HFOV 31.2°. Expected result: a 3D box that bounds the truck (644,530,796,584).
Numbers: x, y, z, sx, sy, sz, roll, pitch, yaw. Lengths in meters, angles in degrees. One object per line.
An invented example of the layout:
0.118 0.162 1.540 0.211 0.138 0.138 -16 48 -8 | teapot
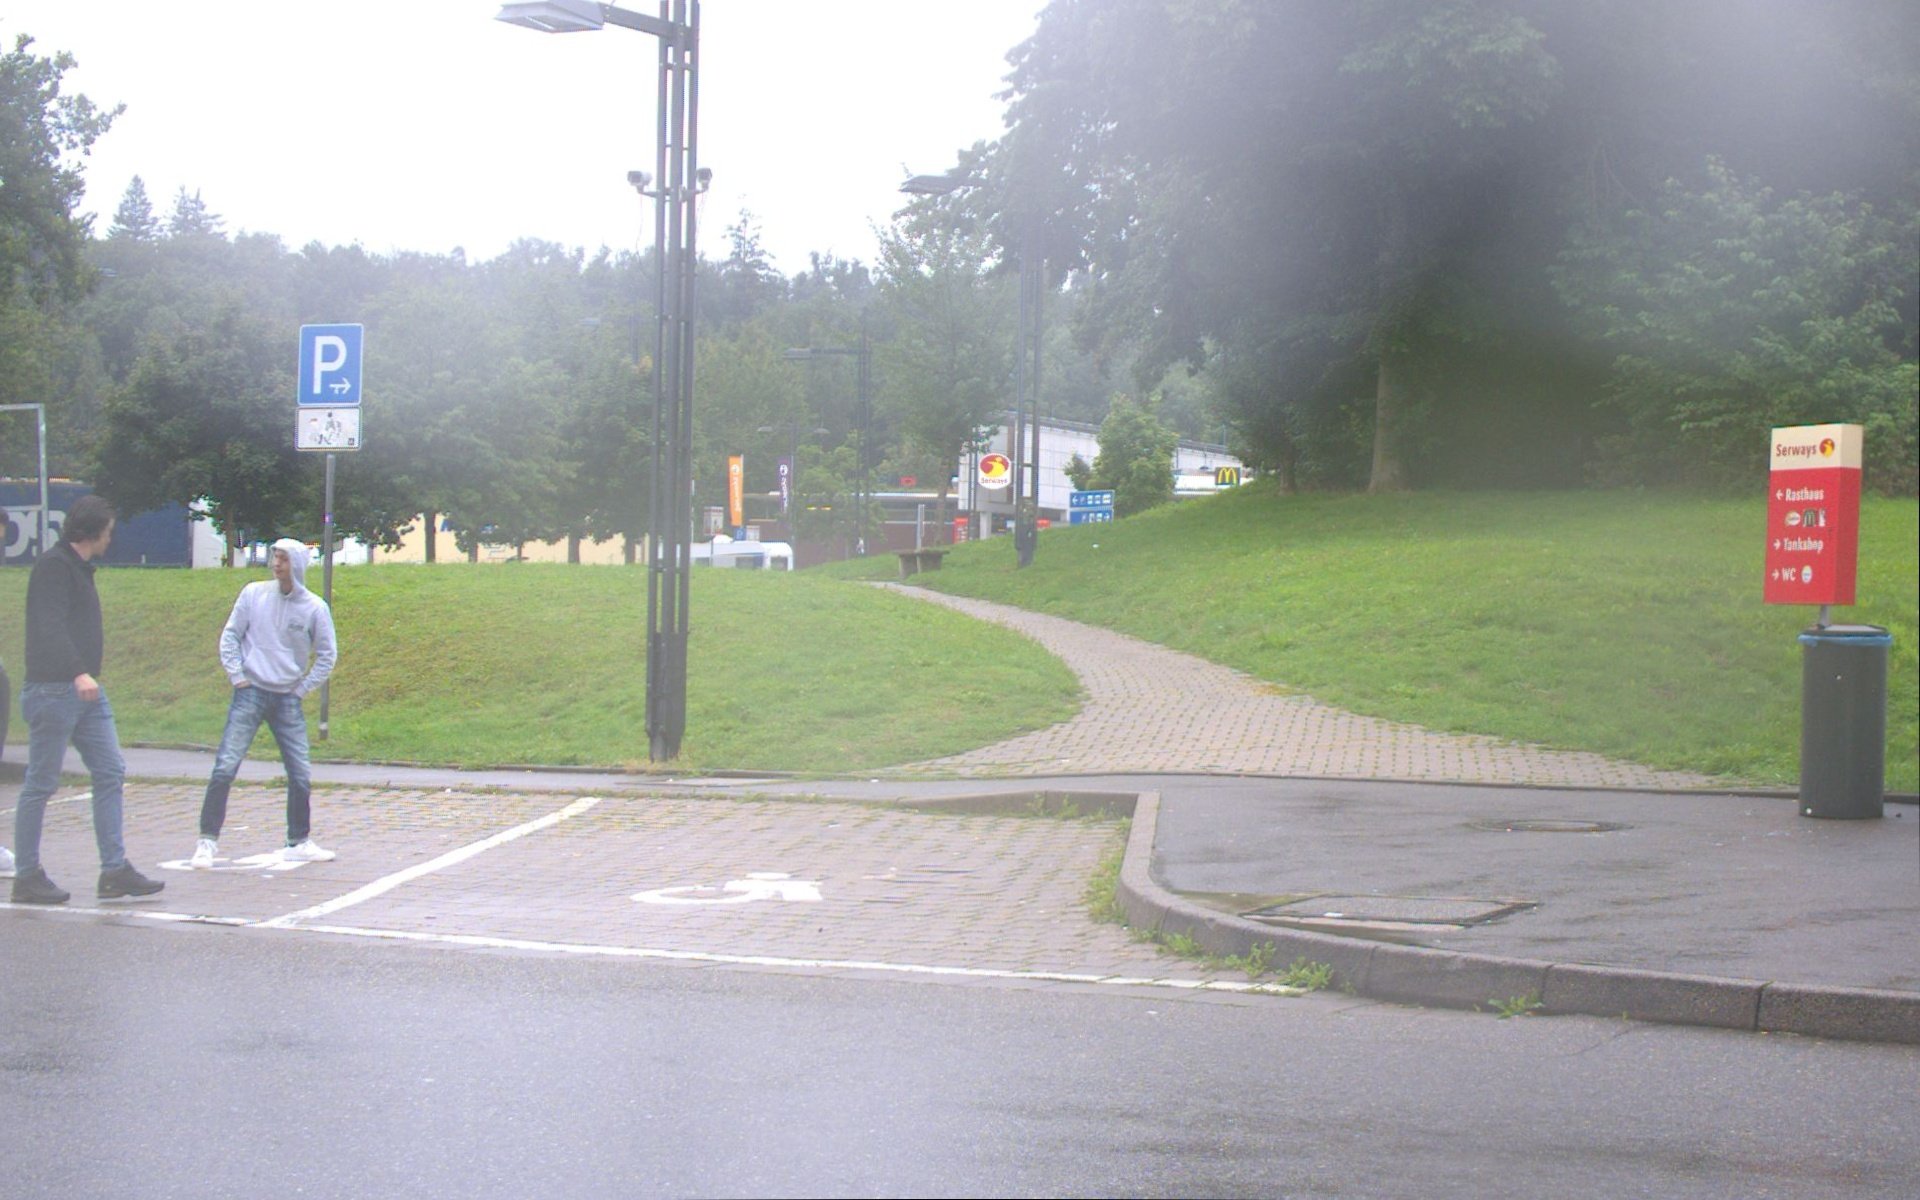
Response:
-9.337 -1.682 133.810 5.413 2.007 2.364 1 1 25 | truck

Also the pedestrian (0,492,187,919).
-4.069 0.461 15.596 0.891 1.880 0.704 1 0 8 | pedestrian

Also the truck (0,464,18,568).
-28.612 -2.358 94.661 2.189 2.910 5.380 1 1 24 | truck

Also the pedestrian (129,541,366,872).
-3.606 0.523 17.431 0.951 1.626 0.703 1 0 13 | pedestrian

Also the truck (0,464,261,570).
-25.473 -2.383 101.631 2.188 2.910 13.082 1 1 24 | truck

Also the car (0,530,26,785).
-7.808 0.449 21.495 2.018 1.705 4.341 -1 1 12 | car

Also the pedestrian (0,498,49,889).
-5.046 0.442 16.708 0.951 1.880 0.703 1 0 14 | pedestrian
